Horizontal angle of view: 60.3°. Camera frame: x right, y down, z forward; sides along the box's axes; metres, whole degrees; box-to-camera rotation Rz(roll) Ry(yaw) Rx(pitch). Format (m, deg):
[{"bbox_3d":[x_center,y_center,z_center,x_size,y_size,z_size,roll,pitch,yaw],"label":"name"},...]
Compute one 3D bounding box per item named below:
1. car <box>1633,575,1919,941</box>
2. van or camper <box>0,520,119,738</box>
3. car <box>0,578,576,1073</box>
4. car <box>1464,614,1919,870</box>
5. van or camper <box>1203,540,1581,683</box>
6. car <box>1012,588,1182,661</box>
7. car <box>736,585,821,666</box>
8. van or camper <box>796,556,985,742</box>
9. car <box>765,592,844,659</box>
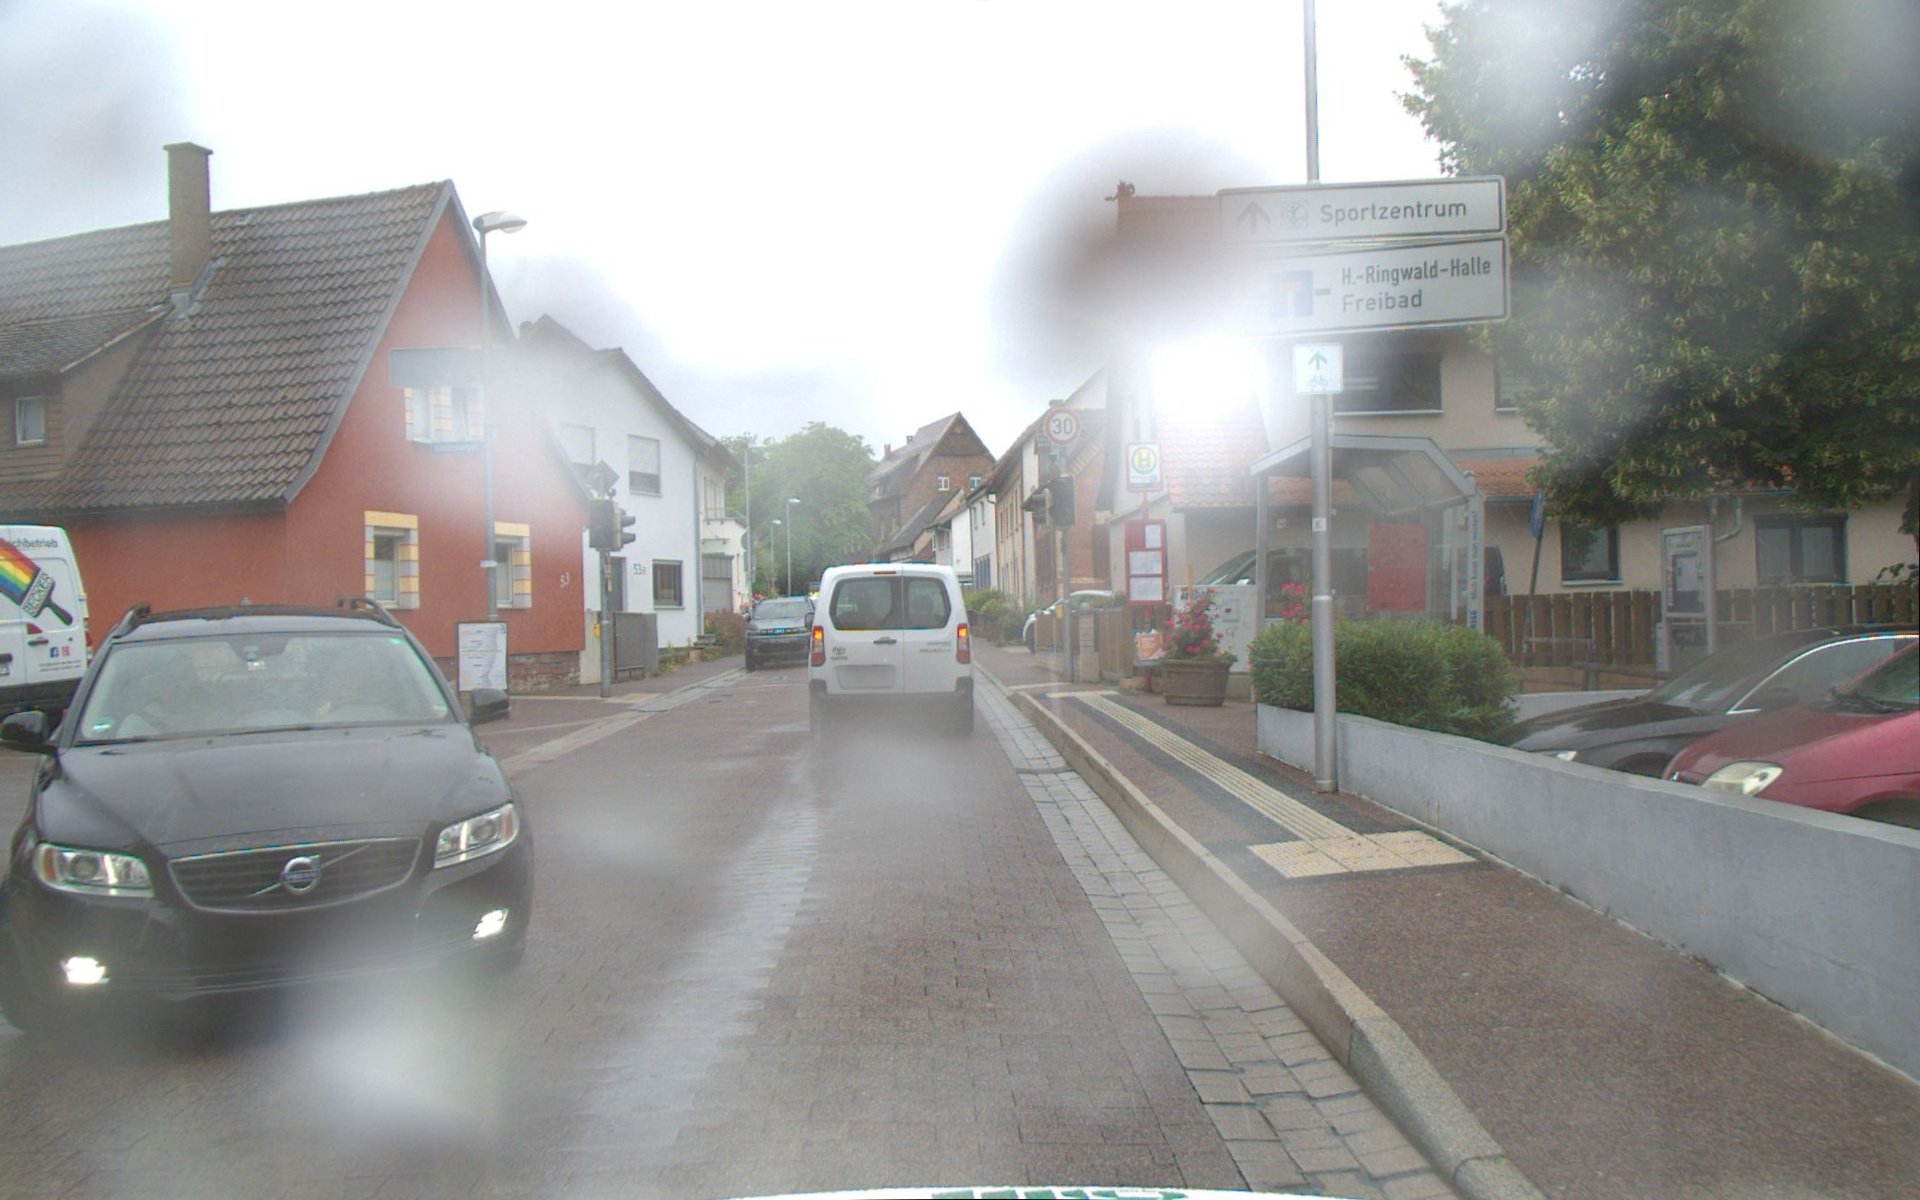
[{"bbox_3d":[5.554,0.668,7.975,3.981,1.617,1.859,-1,0,12],"label":"car"},{"bbox_3d":[-13.022,0.384,20.165,5.039,2.478,2.210,-2,1,24],"label":"van or camper"},{"bbox_3d":[-2.830,0.712,7.584,1.814,1.503,4.295,-3,1,-16],"label":"car"},{"bbox_3d":[5.382,0.837,10.518,3.868,1.402,1.753,-2,0,6],"label":"car"},{"bbox_3d":[6.173,0.173,23.962,4.970,1.957,1.874,0,0,-5],"label":"van or camper"},{"bbox_3d":[3.381,0.564,41.697,1.854,1.617,4.565,0,2,-34],"label":"car"},{"bbox_3d":[-4.367,0.565,40.247,1.776,1.810,4.015,-2,1,-3],"label":"car"},{"bbox_3d":[-0.761,0.461,18.812,1.904,1.883,3.999,0,1,-2],"label":"van or camper"},{"bbox_3d":[-4.319,0.719,46.479,1.713,1.665,4.417,-4,-1,0],"label":"car"}]
